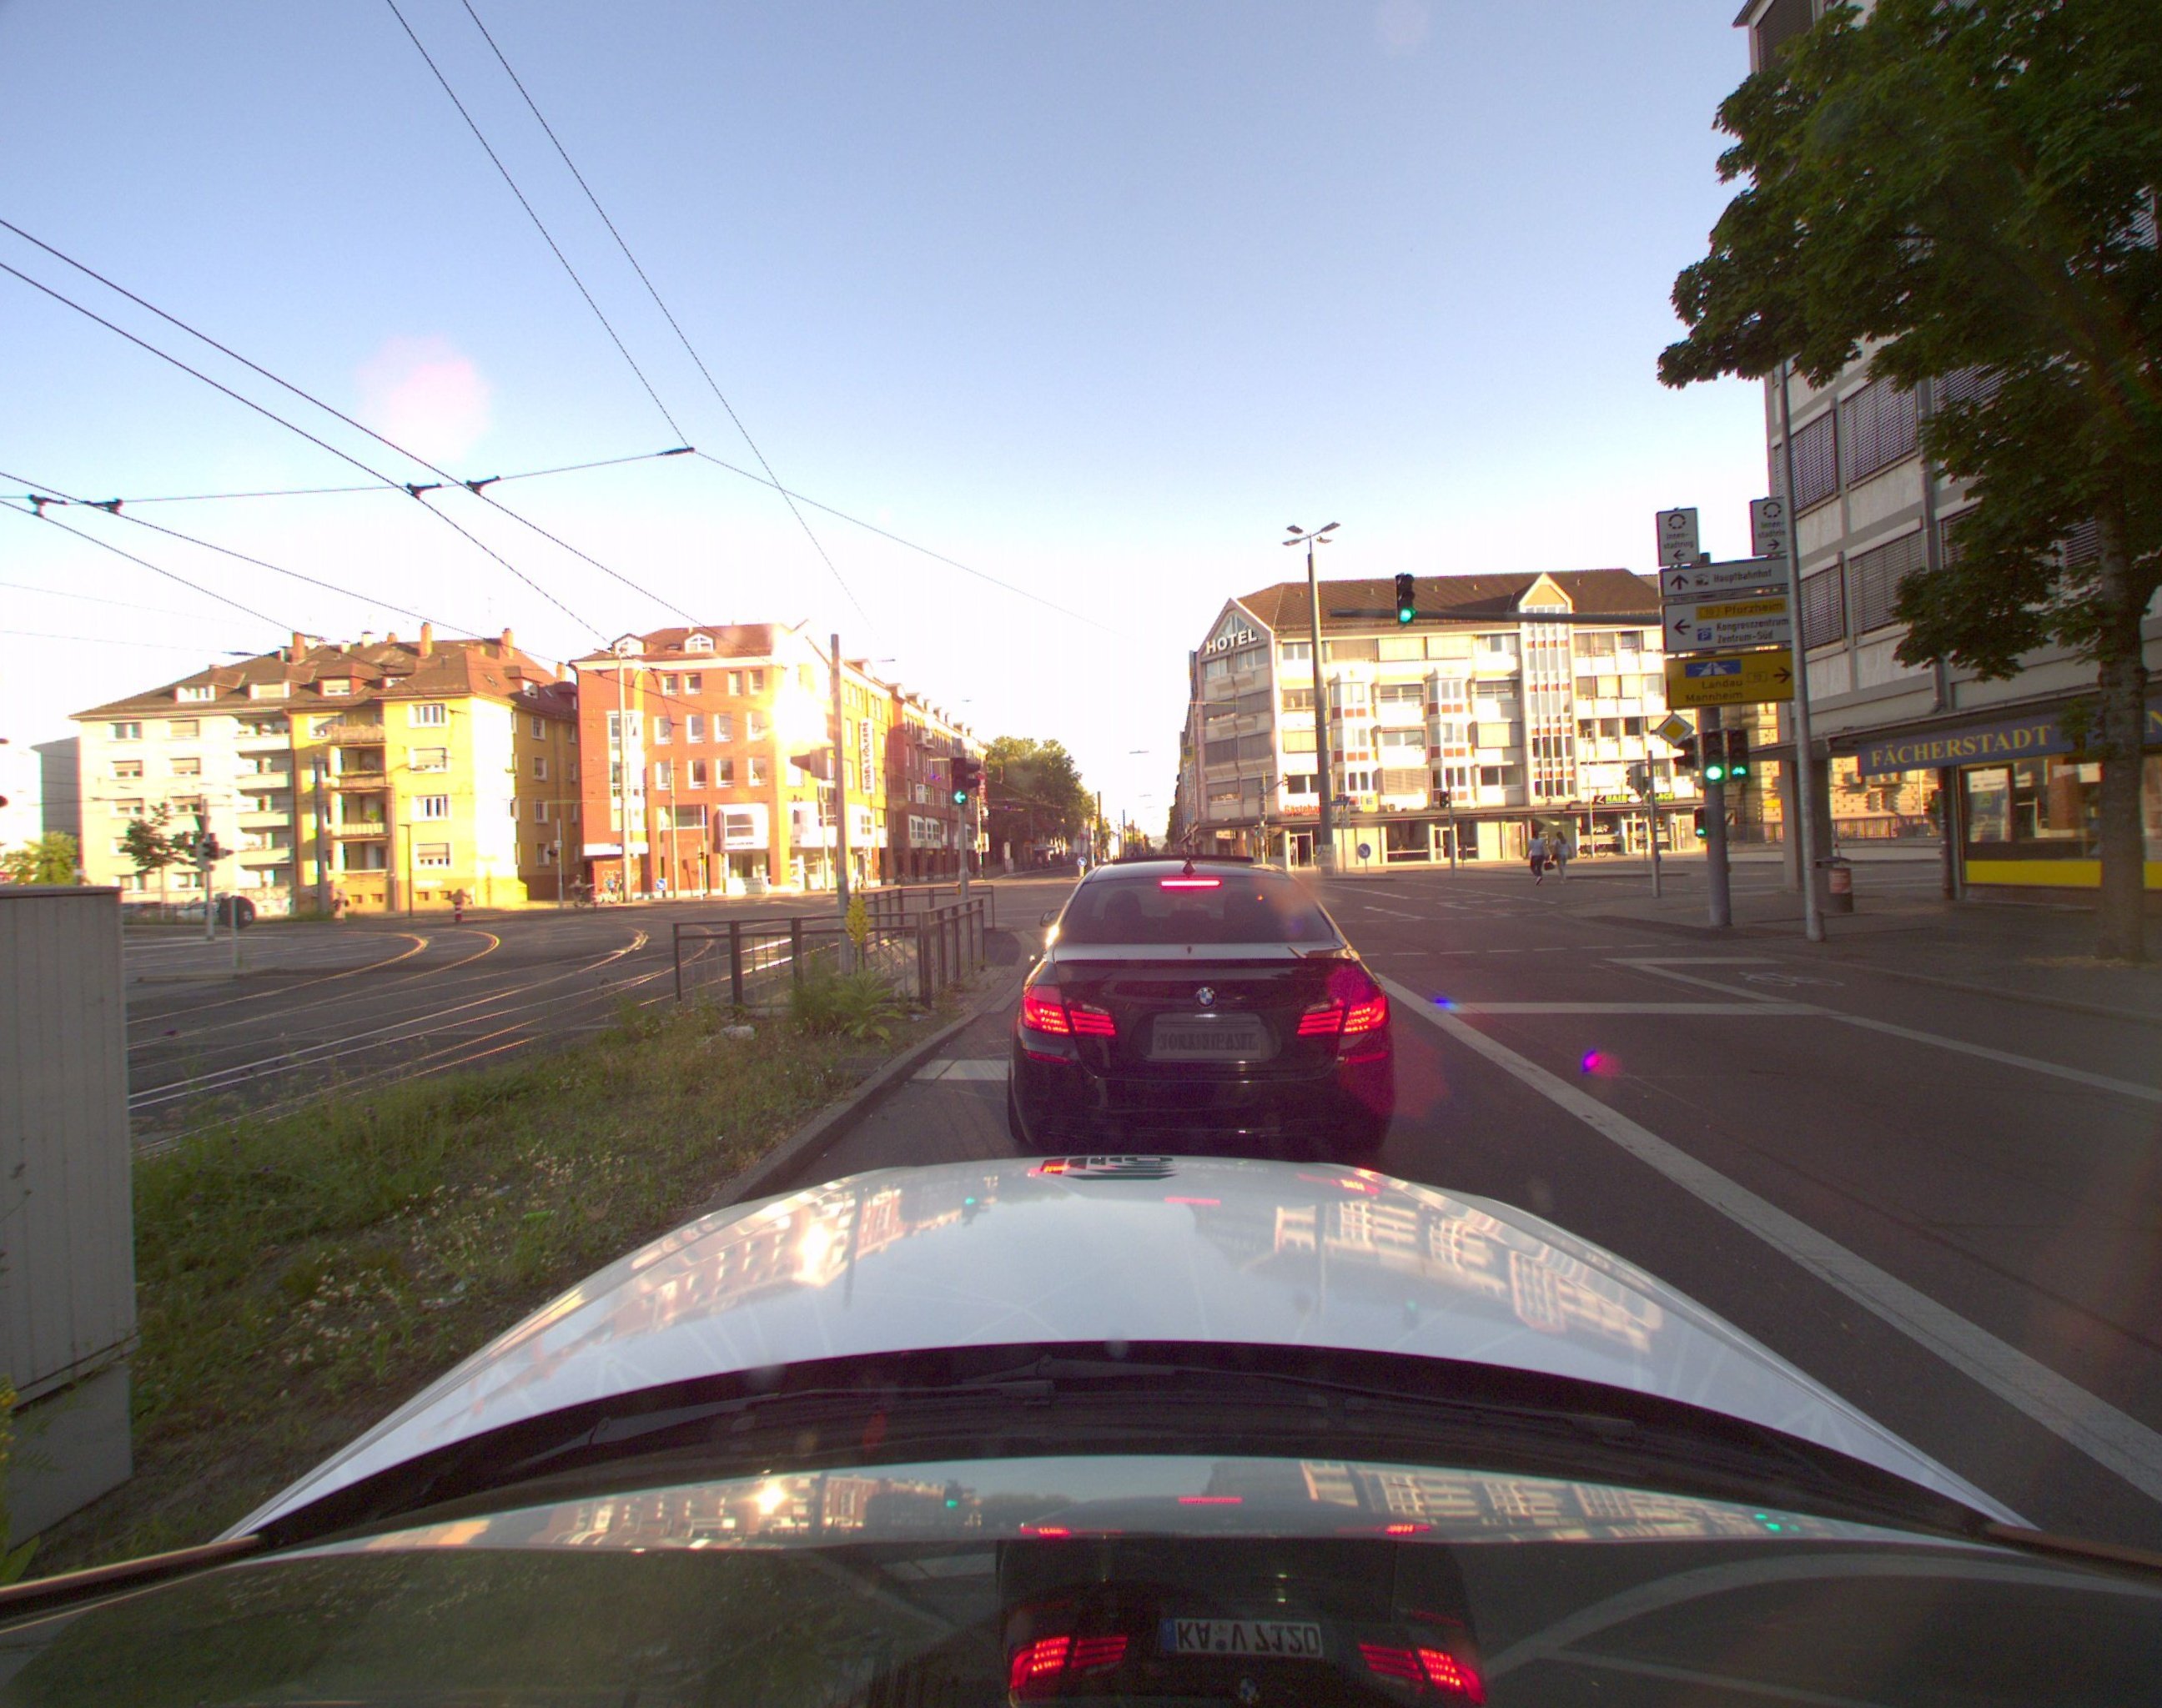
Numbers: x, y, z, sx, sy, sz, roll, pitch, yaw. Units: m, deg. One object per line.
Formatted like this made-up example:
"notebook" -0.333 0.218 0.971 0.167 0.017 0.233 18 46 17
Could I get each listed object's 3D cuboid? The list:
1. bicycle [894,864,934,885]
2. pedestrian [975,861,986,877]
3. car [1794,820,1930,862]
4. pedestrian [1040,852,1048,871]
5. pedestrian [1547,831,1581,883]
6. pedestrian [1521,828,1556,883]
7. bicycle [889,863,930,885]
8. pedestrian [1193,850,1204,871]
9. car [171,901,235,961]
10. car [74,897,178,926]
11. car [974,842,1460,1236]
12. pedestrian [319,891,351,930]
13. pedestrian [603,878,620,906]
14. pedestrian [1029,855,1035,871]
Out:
"bicycle" -15.059 1.810 73.427 3.282 1.726 1.070 -3 0 4
"pedestrian" -12.600 1.864 102.047 1.081 2.013 1.085 -3 0 1
"car" 40.622 -0.679 42.482 4.570 1.555 2.228 7 -1 9
"pedestrian" -4.046 0.800 89.327 0.805 2.013 0.678 -3 0 2
"pedestrian" 15.071 0.092 25.419 0.696 1.582 0.831 -3 -1 41
"pedestrian" 14.125 0.056 25.131 0.718 1.649 0.776 -3 -1 41
"bicycle" -15.183 1.782 72.262 3.281 1.726 1.071 -3 0 5
"pedestrian" 9.040 0.519 62.462 0.703 1.548 0.907 -1 3 2
"car" -58.318 5.075 54.088 1.399 3.562 1.744 18 1 10
"car" -63.759 3.827 54.431 4.321 1.705 2.118 -2 -4 0
"car" 0.581 0.711 5.248 1.834 1.495 4.294 0 0 2
"pedestrian" -30.471 2.308 33.261 0.629 1.541 0.711 -3 0 18
"pedestrian" -31.267 2.515 54.239 0.636 1.778 0.814 -2 0 -5
"pedestrian" -5.408 0.980 89.670 0.582 1.657 0.678 -3 0 2
